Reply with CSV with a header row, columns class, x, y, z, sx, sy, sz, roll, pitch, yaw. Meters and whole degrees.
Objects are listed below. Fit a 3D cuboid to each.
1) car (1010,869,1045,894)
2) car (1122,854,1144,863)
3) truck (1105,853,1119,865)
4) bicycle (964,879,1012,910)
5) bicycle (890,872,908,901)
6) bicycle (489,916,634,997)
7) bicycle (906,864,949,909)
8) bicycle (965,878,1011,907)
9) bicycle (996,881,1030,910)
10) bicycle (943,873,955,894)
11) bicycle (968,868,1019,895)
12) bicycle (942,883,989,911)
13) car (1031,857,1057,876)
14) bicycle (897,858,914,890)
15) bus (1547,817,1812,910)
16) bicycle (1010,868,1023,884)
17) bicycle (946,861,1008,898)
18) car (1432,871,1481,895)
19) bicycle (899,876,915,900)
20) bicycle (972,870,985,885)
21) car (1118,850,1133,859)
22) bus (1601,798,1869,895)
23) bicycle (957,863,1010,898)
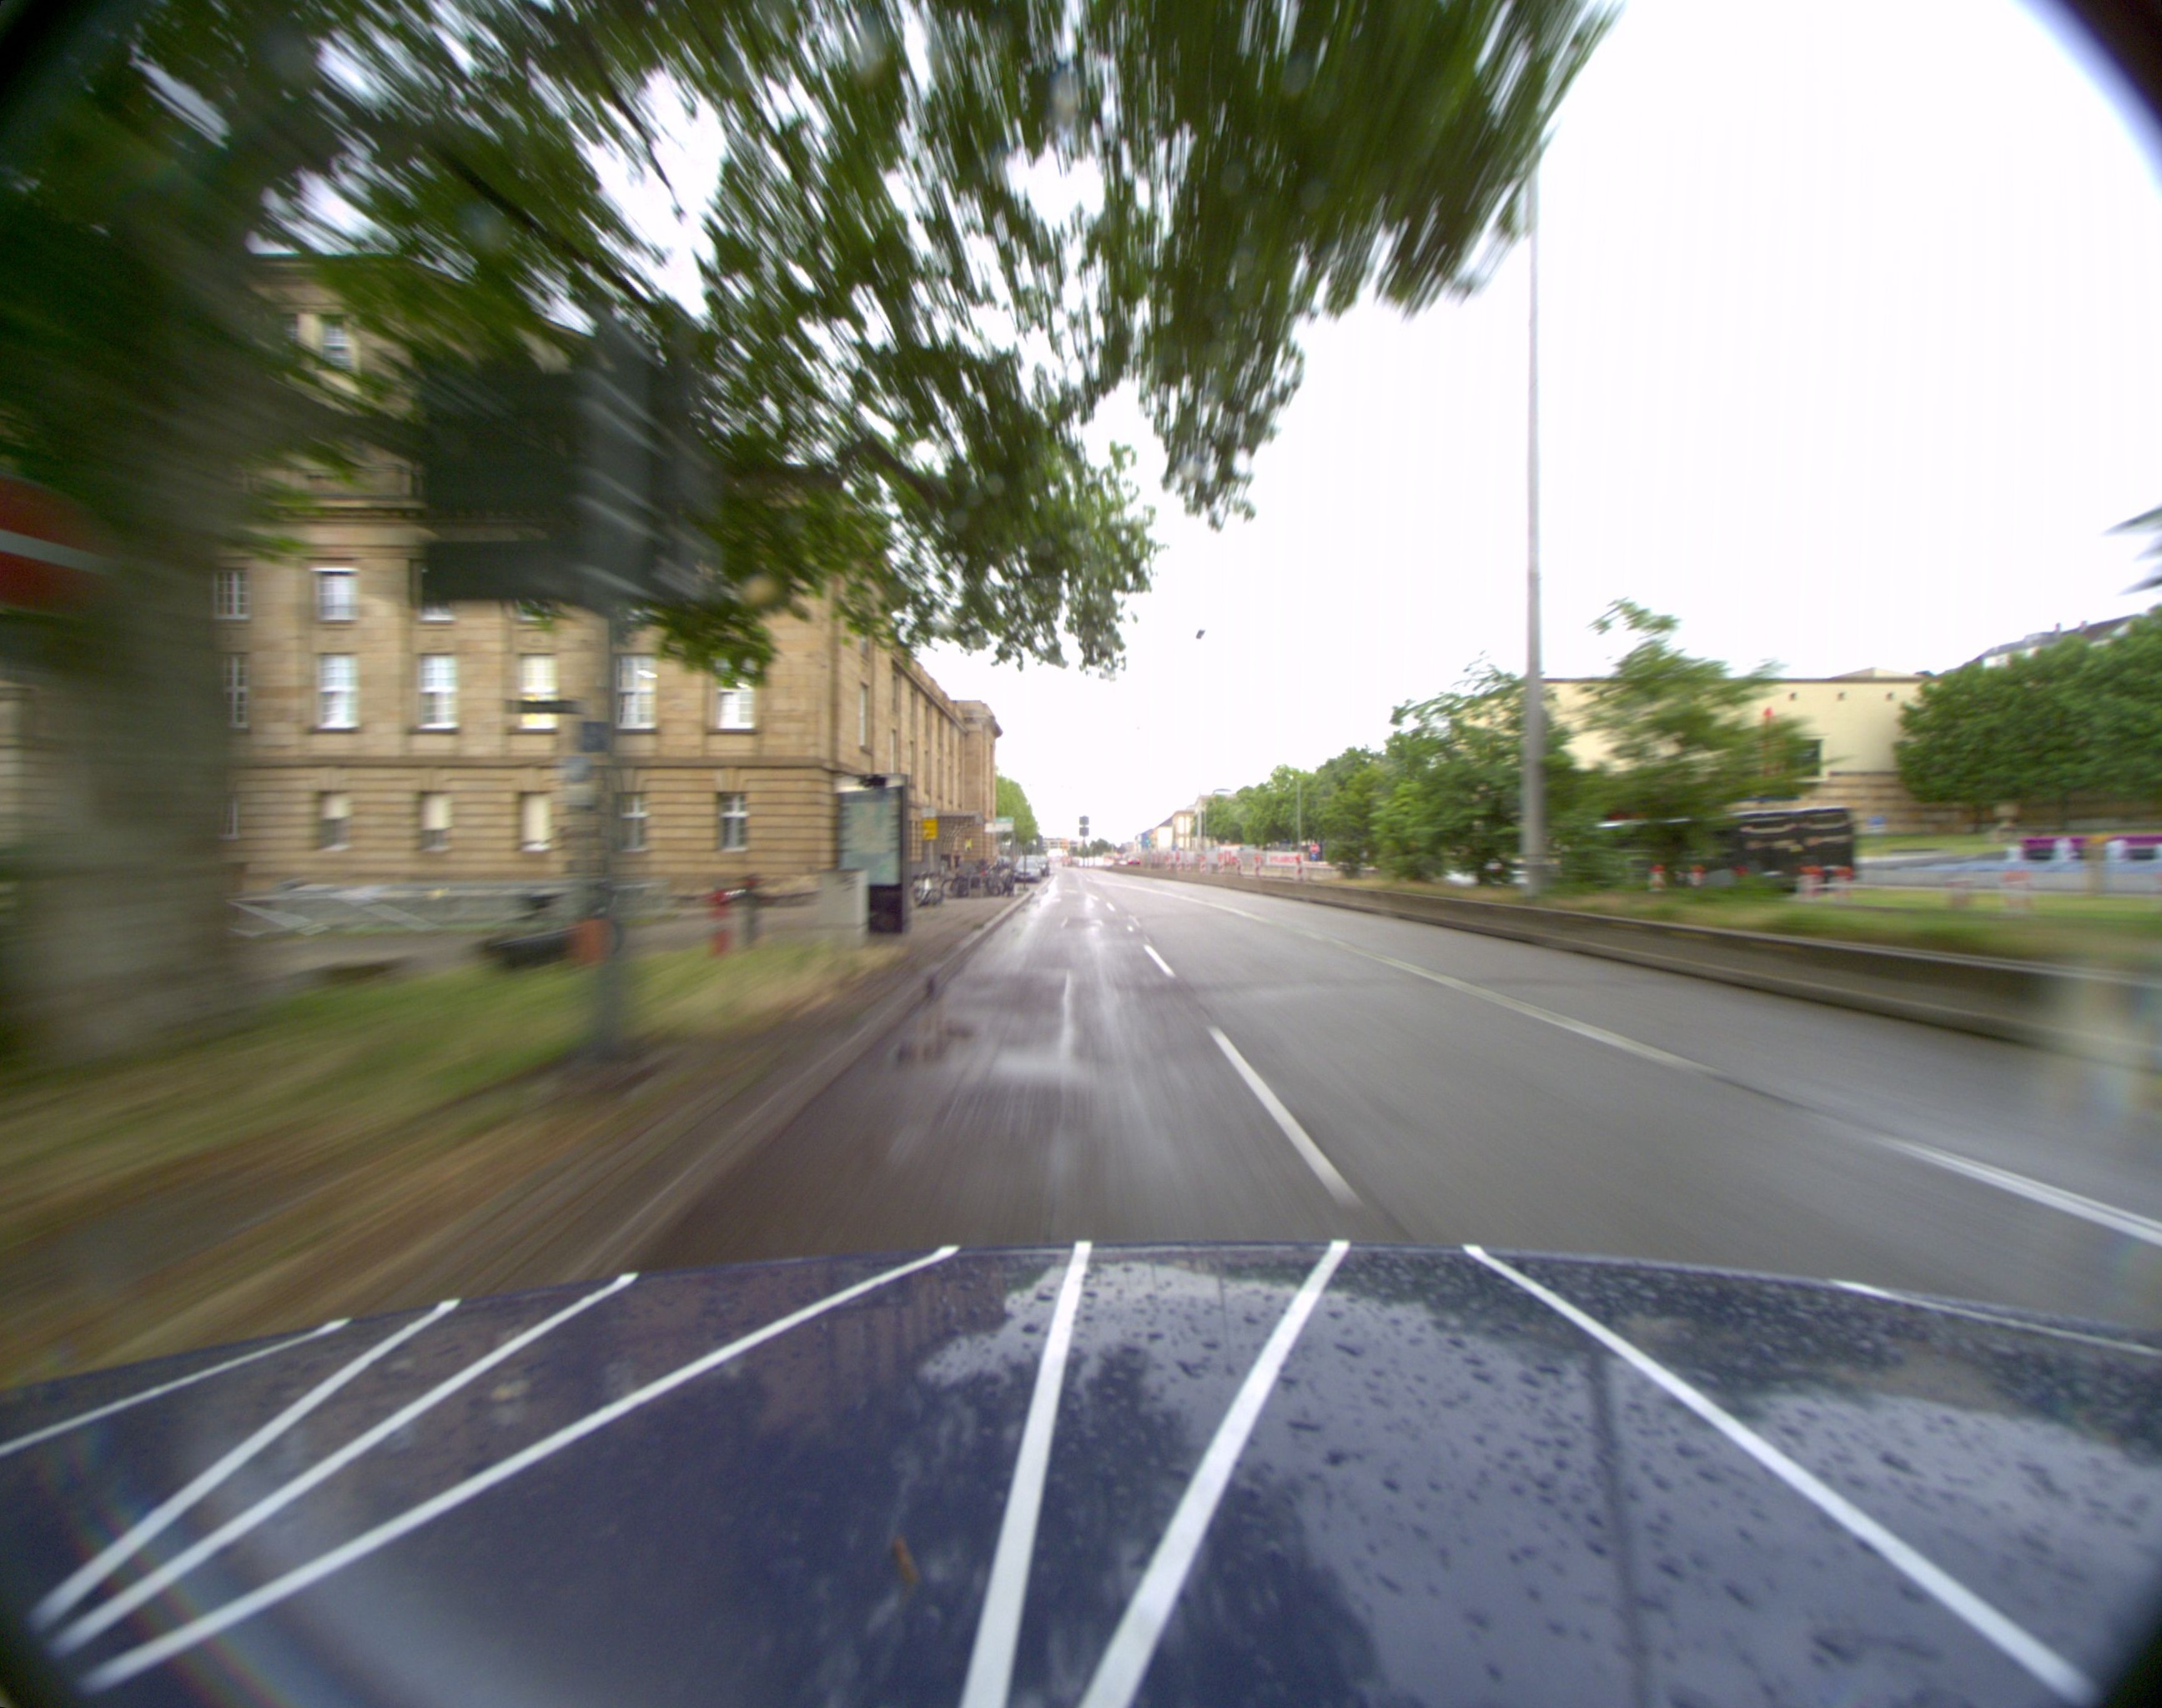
class,x,y,z,sx,sy,sz,roll,pitch,yaw
car,-3.324,1.732,48.185,1.936,1.469,3.703,0,0,0
car,8.008,0.737,117.101,1.781,1.255,4.761,-1,-1,-17
truck,7.165,1.292,177.517,2.405,2.703,7.352,0,-1,-5
bicycle,-3.418,1.477,27.969,1.683,1.116,0.601,0,0,2
bicycle,-8.297,1.475,34.731,0.455,1.243,1.600,-1,0,-2
bicycle,-7.226,1.423,10.593,1.644,1.014,0.575,-2,0,5
bicycle,-4.417,0.906,21.994,0.606,1.190,1.906,2,0,8
bicycle,-3.562,1.489,29.264,1.683,1.084,0.650,0,0,2
bicycle,-2.411,1.458,27.089,0.670,0.962,1.639,0,0,15
bicycle,-7.874,1.745,45.282,0.465,1.208,1.691,0,0,-2
bicycle,-3.532,1.102,30.838,1.990,1.054,0.759,0,0,-3
bicycle,-4.126,1.526,27.234,1.593,0.988,0.525,0,0,2
car,-3.034,1.001,62.390,1.762,1.406,3.153,0,1,4
bicycle,-8.325,0.937,36.083,0.455,1.506,1.599,-1,0,-2
bus,29.391,0.491,38.936,2.810,3.788,14.602,-1,-1,4
bicycle,-5.161,1.769,60.656,0.778,1.211,1.963,2,0,-11
bicycle,-3.828,0.939,28.129,2.196,1.328,0.650,0,0,2
car,25.453,1.930,51.618,1.596,1.491,3.213,2,0,-3
bicycle,-8.095,1.579,35.471,0.353,1.074,1.789,-1,0,-1
bicycle,-7.378,1.709,54.725,0.585,1.032,1.759,0,0,3
car,8.084,0.063,139.025,2.000,1.521,3.998,0,-1,-8
bus,33.423,-0.246,40.250,3.126,4.226,13.499,-1,-1,3
bicycle,-3.694,0.991,28.873,1.910,1.324,0.650,0,0,2
